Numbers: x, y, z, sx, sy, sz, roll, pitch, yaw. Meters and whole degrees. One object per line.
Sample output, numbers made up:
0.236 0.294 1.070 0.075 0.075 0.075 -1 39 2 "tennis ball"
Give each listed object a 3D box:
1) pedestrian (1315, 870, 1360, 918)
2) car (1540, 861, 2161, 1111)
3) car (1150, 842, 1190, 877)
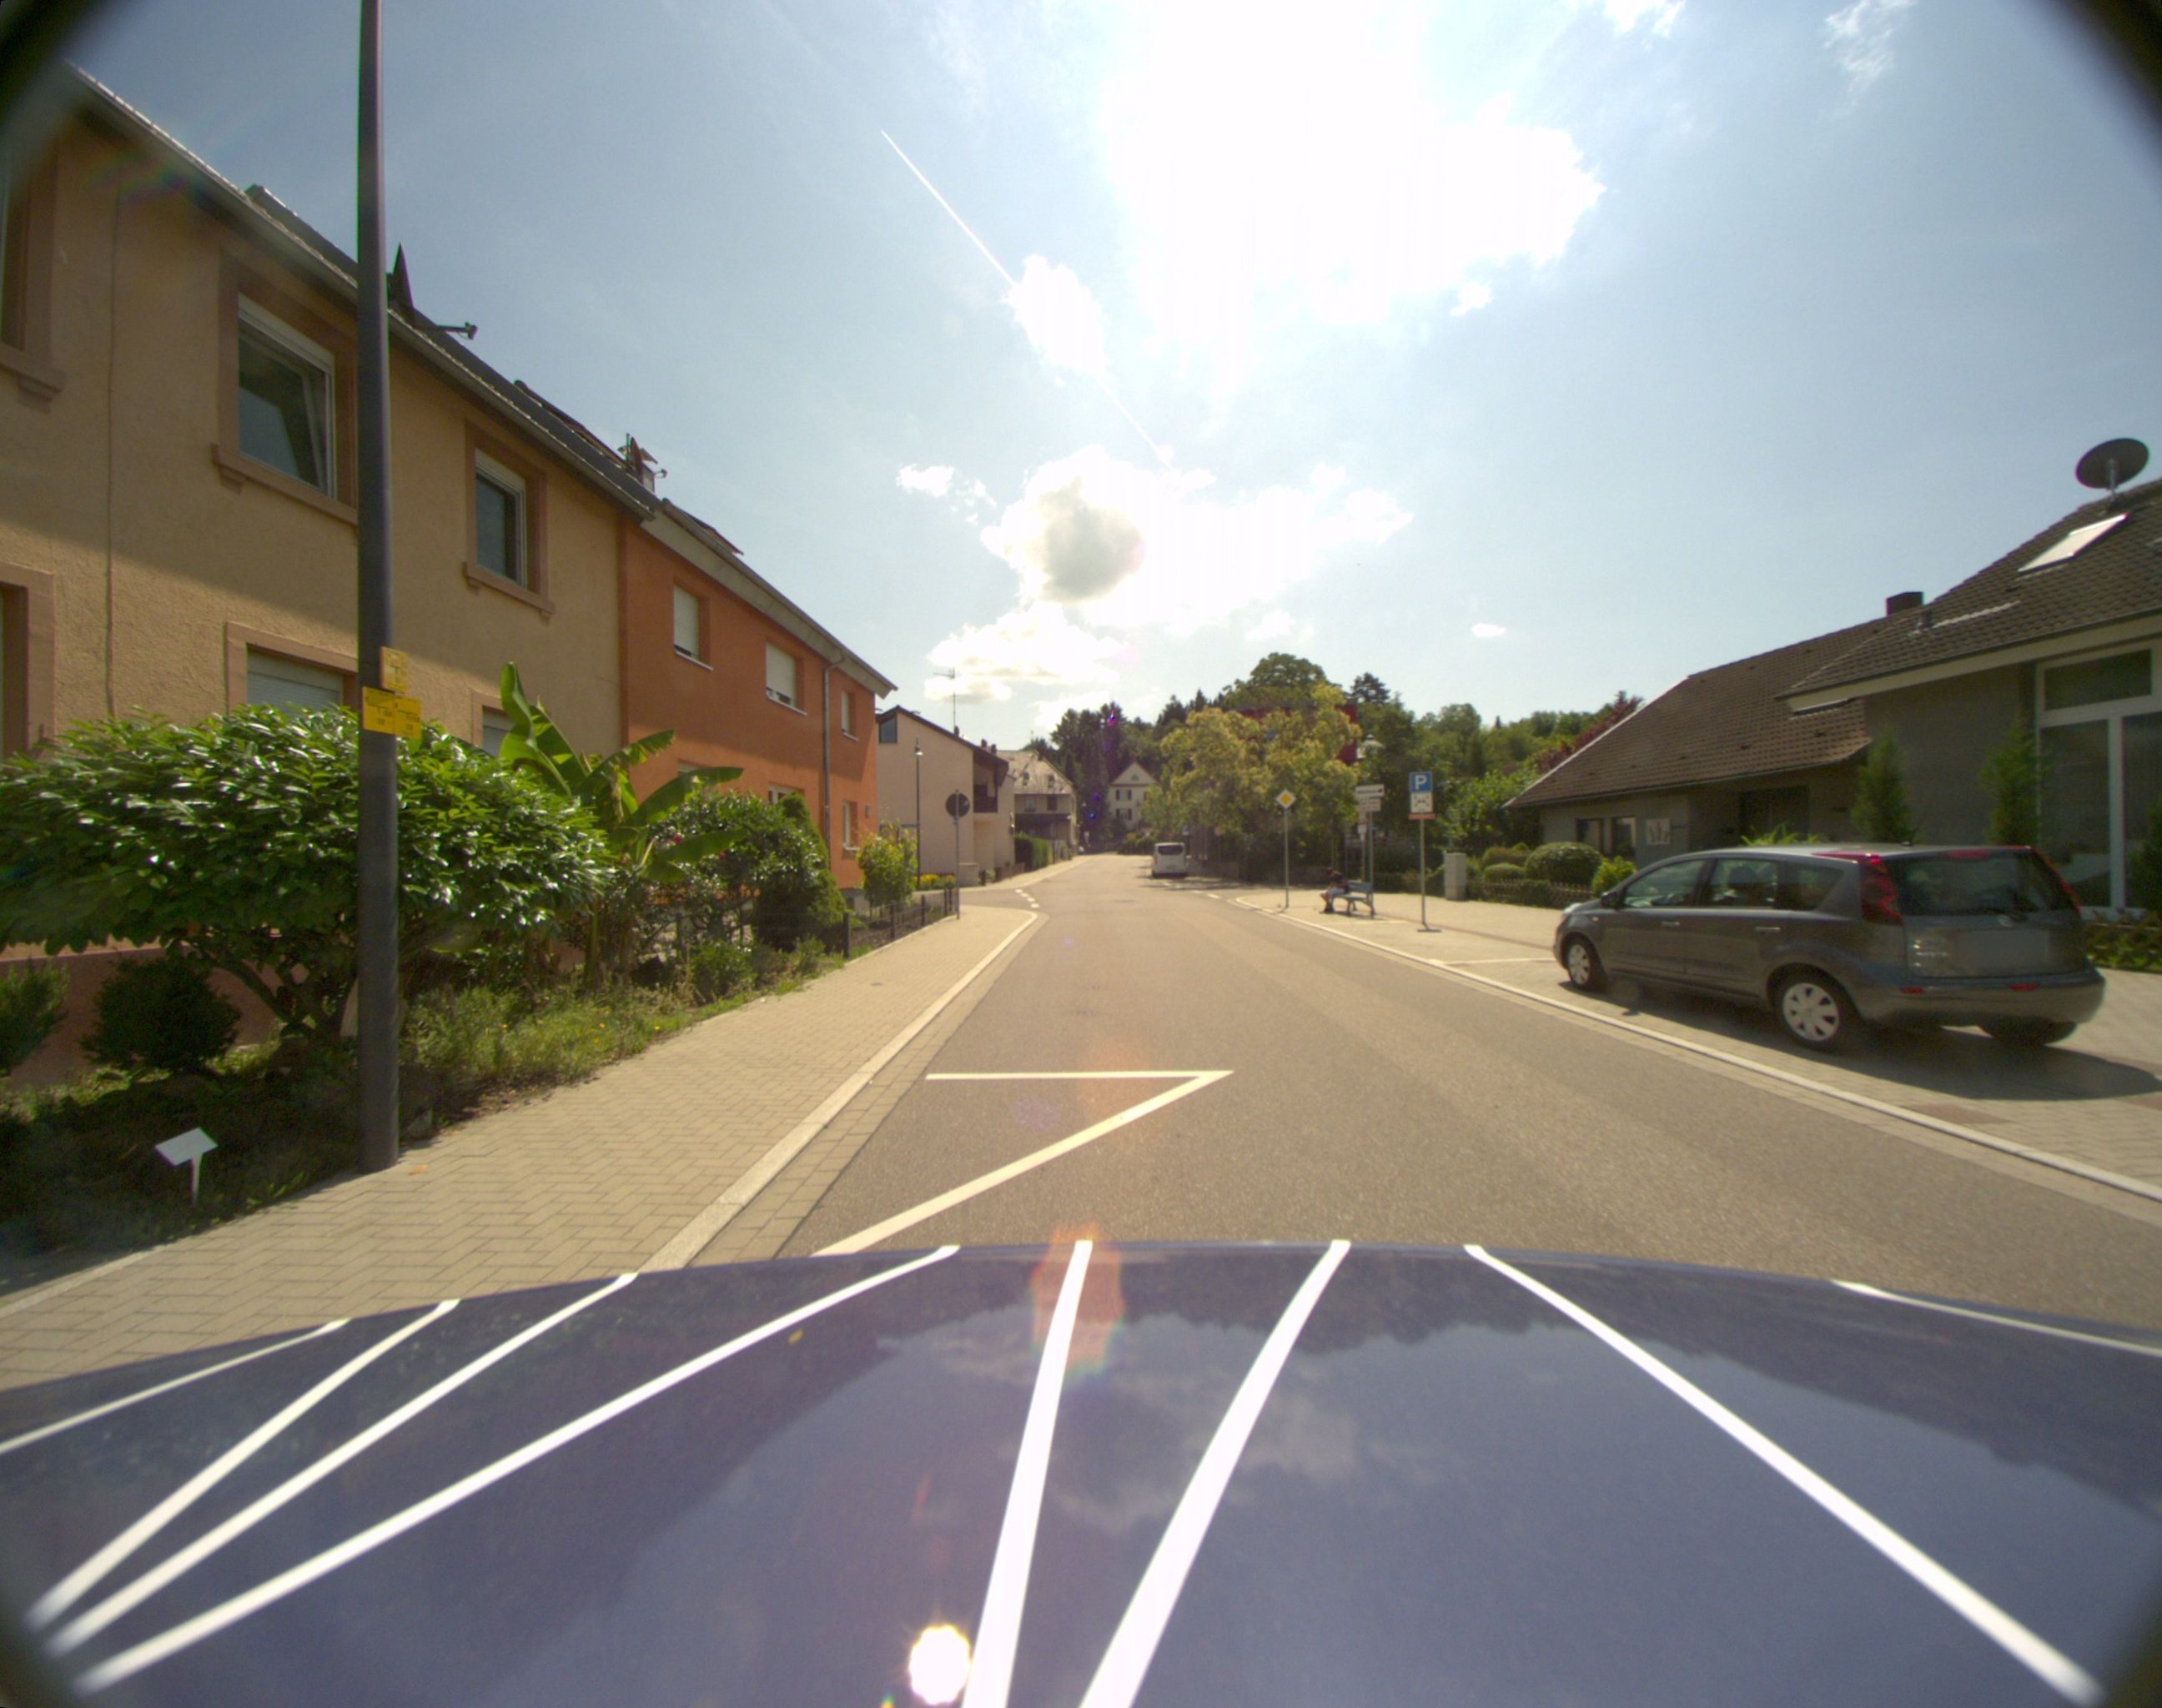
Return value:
6.539 1.012 19.412 0.815 1.135 0.885 -2 1 -2 "pedestrian"
6.146 0.863 6.756 1.727 1.515 3.910 -2 -1 0 "car"
5.239 0.294 45.161 1.998 1.968 3.999 -1 1 1 "car"
